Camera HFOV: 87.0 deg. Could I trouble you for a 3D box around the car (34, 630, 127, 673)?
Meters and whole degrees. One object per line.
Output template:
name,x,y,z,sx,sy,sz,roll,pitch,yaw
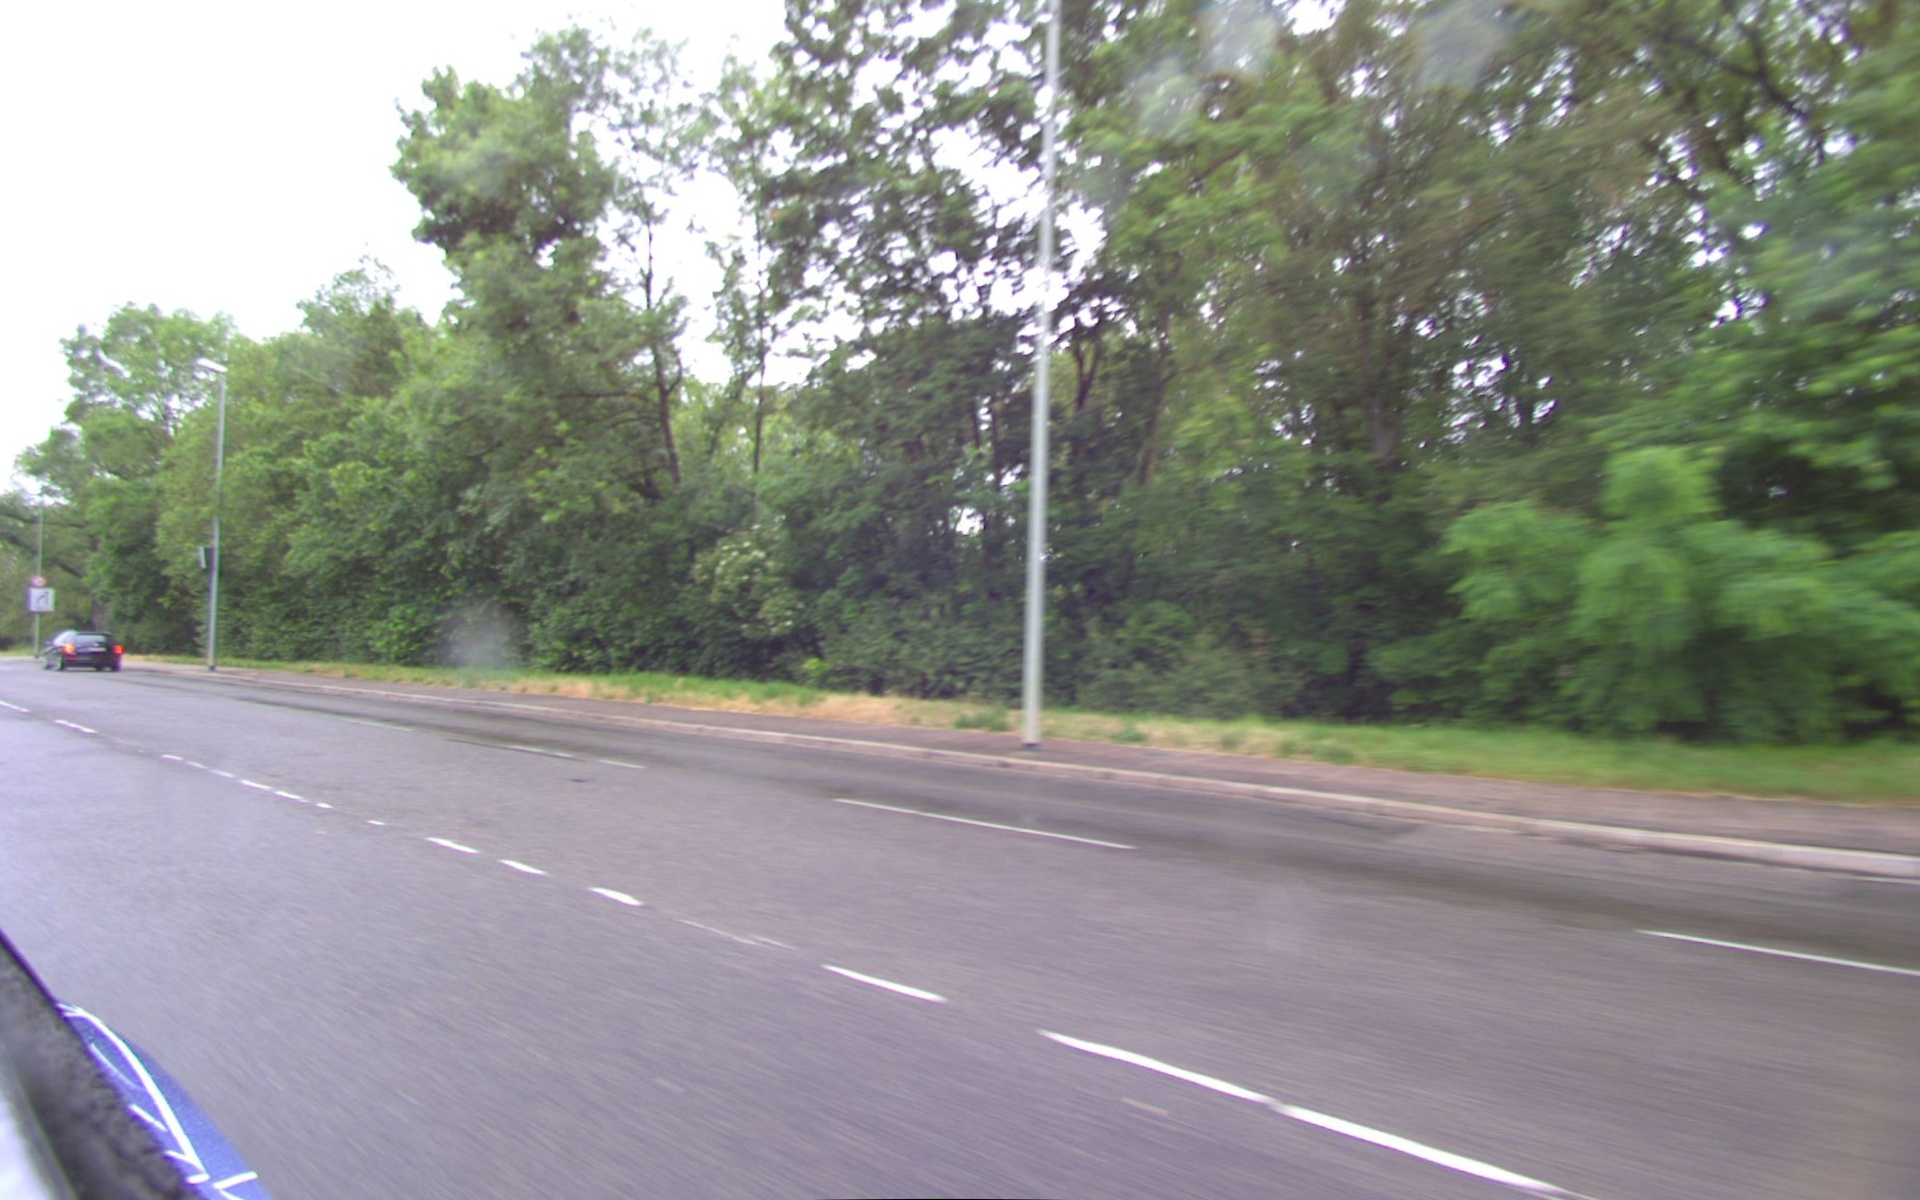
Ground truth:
car,-32.058,1.865,36.856,4.383,1.443,1.727,-1,-5,39
